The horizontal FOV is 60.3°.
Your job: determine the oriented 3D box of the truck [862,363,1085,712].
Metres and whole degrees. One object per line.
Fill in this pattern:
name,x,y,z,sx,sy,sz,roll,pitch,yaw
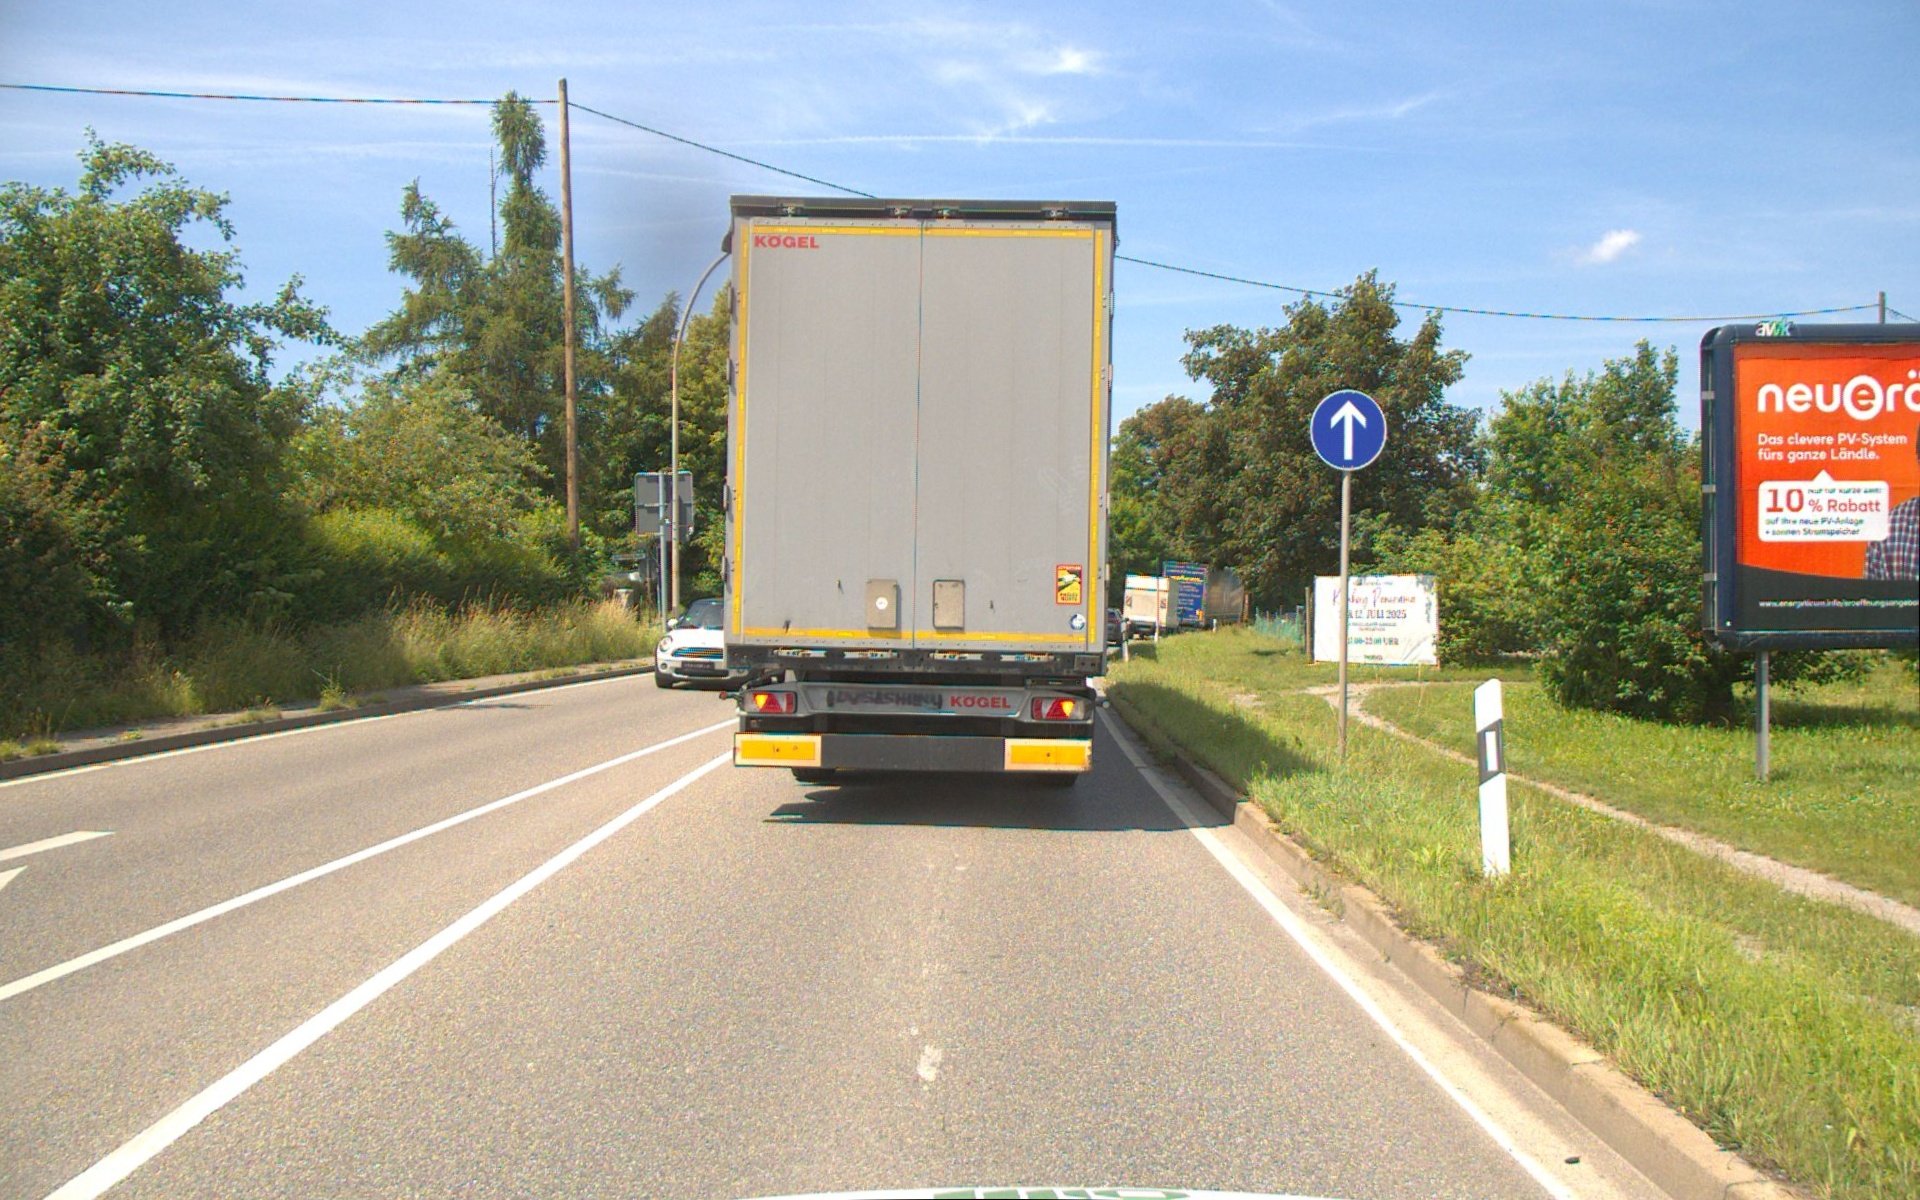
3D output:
truck,0.312,-0.802,23.294,2.688,4.238,6.145,1,1,3

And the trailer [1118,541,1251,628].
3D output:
trailer,13.607,-0.912,98.424,5.071,4.709,15.903,1,1,18

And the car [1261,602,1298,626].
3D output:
car,23.502,0.994,121.694,1.953,1.713,4.000,1,1,22

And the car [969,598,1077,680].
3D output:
car,1.374,0.764,34.461,1.951,1.556,4.003,1,1,6

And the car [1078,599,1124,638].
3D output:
car,5.794,0.730,67.518,1.802,1.512,4.003,1,1,6

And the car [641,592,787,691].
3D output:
car,-3.906,0.623,26.803,1.588,1.405,3.562,3,1,3

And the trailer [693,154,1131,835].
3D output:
trailer,-0.022,-0.744,16.520,2.728,4.278,12.116,1,1,3

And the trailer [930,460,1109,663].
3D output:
trailer,1.917,-0.960,44.101,3.808,4.600,12.723,1,1,6

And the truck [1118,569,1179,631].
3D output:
truck,9.286,-0.017,81.081,2.369,2.888,5.417,1,1,13

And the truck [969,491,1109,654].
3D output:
truck,2.577,-0.799,50.960,3.853,4.655,7.157,0,0,6
